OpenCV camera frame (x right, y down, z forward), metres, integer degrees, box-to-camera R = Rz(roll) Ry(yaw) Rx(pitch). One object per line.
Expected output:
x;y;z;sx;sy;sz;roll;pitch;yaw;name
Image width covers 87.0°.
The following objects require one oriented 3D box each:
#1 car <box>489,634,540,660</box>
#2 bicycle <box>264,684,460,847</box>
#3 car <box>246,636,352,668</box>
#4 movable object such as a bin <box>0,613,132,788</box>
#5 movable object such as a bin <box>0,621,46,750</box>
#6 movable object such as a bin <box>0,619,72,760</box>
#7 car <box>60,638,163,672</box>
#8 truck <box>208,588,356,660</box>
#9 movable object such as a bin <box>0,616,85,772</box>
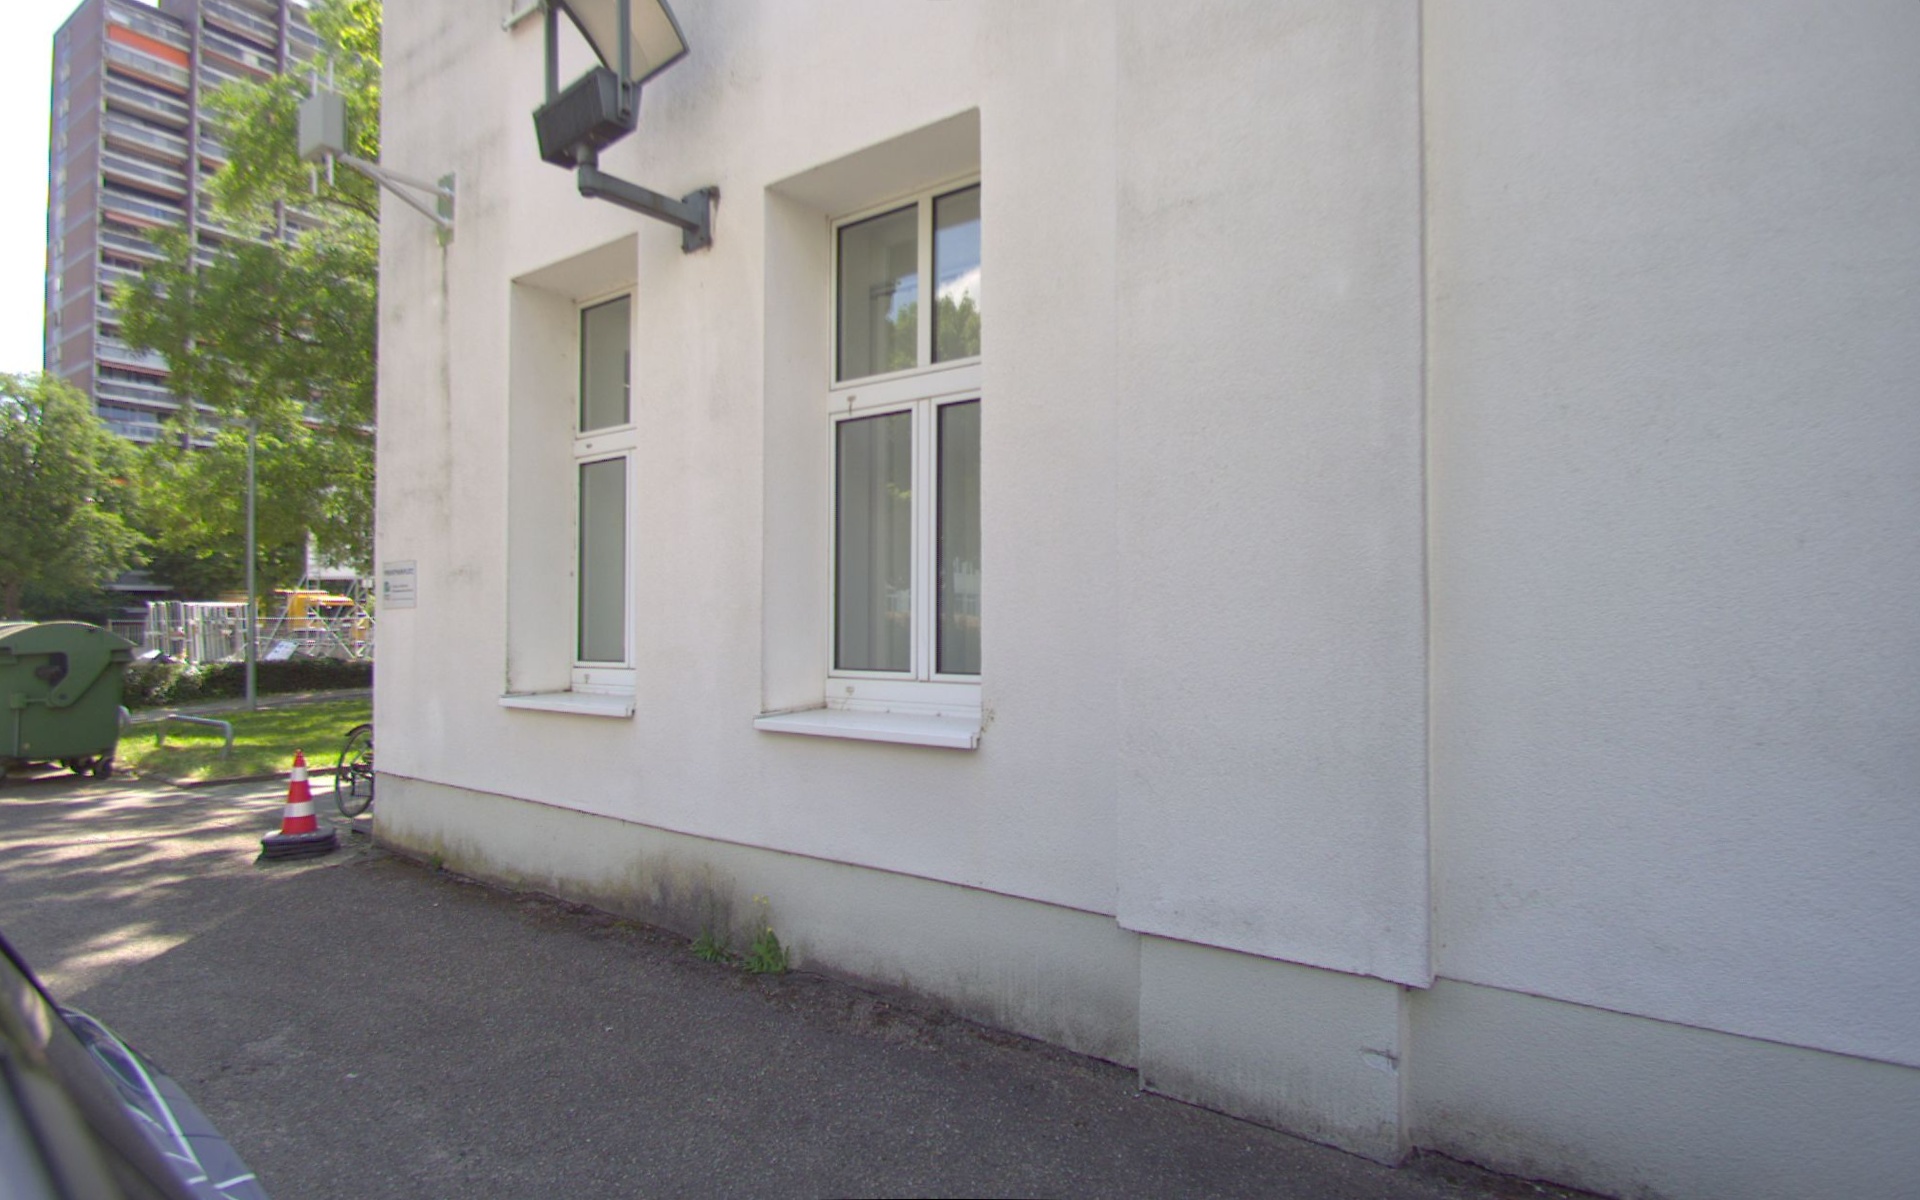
-24.676;2.581;55.996;1.604;1.383;4.030;1;-2;-38;car
-4.274;1.112;7.188;1.727;0.965;0.606;-2;-3;38;bicycle
-34.308;2.686;52.611;4.345;1.619;1.997;0;-2;6;car
-8.531;0.882;9.343;1.407;1.491;1.035;-2;-3;37;movable object such as a bin
-11.800;0.999;11.930;1.321;1.491;1.194;-1;-3;33;movable object such as a bin
-10.775;0.961;11.105;1.353;1.491;1.087;-1;-3;26;movable object such as a bin
-36.801;2.368;43.922;3.546;1.451;1.616;0;-2;13;car
-40.521;1.461;60.418;9.688;4.036;2.728;-1;-2;25;truck
-9.660;0.920;10.167;1.259;1.491;1.035;-2;-3;37;movable object such as a bin
